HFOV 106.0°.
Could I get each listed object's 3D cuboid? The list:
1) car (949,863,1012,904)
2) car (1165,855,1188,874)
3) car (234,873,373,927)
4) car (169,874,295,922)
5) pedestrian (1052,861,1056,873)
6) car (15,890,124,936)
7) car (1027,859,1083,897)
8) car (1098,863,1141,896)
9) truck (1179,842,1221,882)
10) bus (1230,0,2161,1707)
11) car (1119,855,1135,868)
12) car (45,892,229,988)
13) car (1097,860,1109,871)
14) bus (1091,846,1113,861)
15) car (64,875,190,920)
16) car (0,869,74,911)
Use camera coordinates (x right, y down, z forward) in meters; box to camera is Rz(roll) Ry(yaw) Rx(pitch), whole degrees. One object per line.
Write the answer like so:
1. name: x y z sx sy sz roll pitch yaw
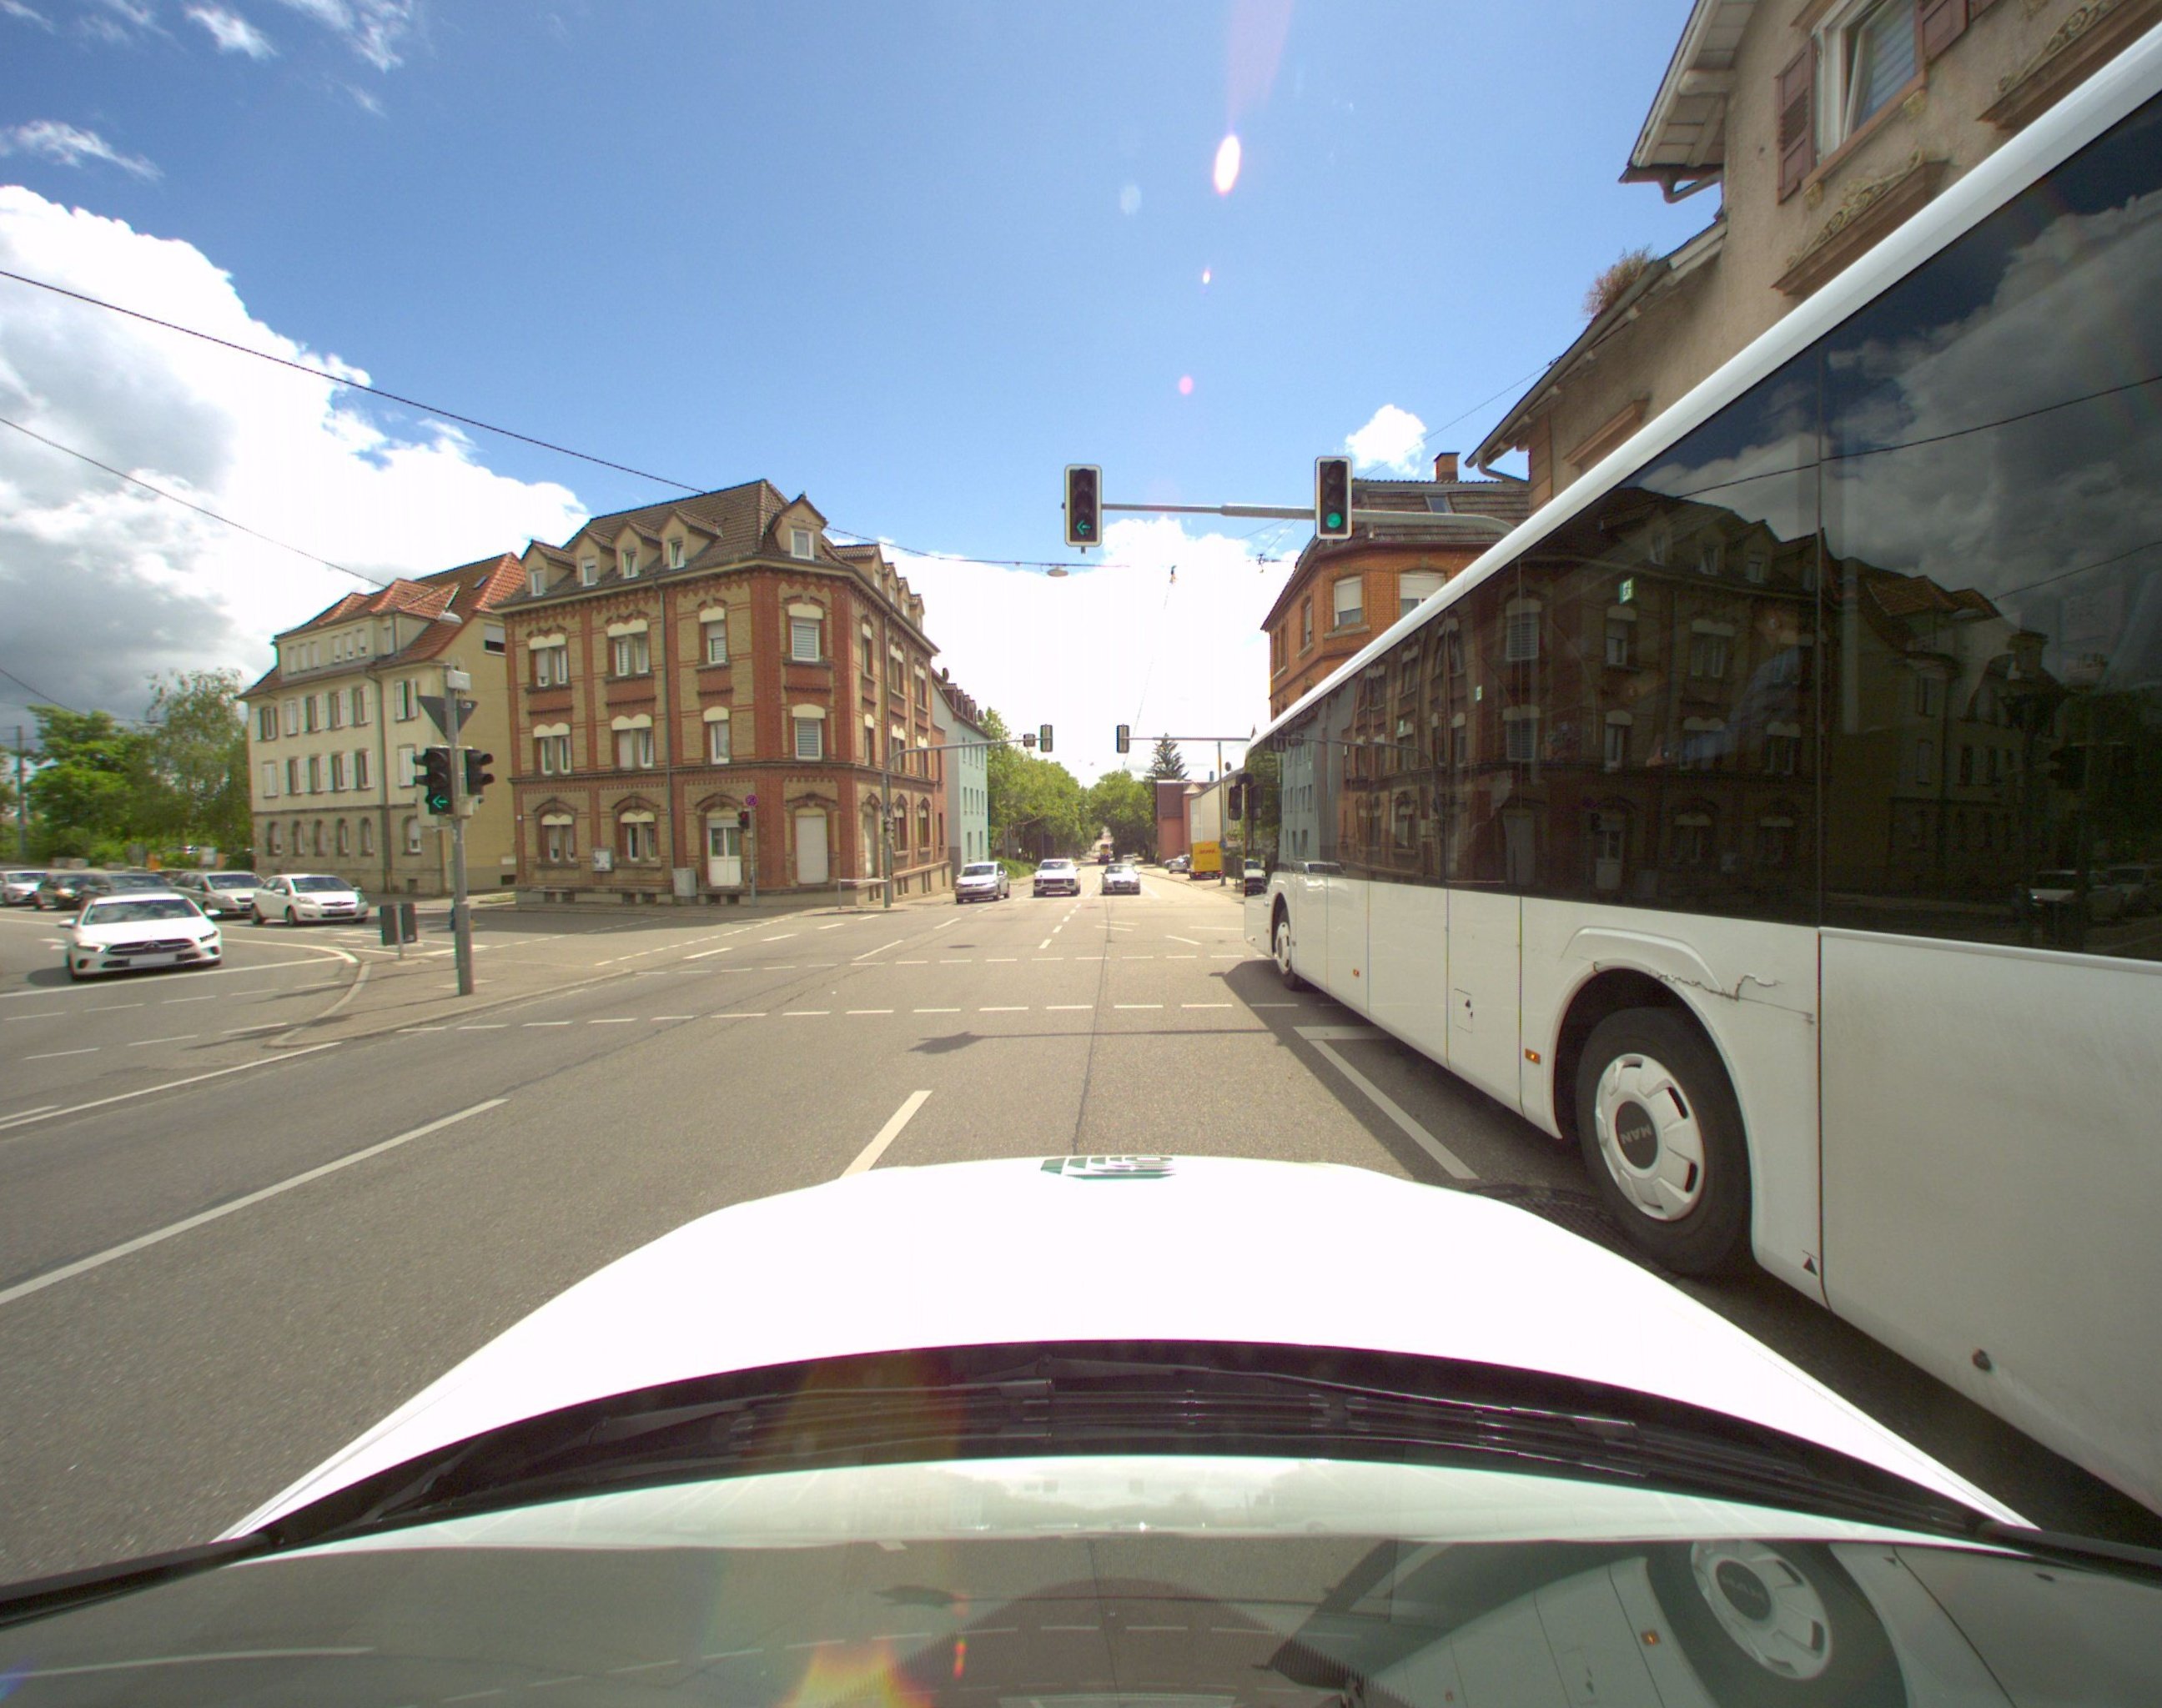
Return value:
1. car: -4.249 1.211 35.160 1.928 1.563 4.391 -2 0 2
2. car: 9.879 1.088 84.253 1.904 1.817 3.999 -1 -1 0
3. car: -23.665 1.380 24.777 3.951 1.497 1.711 -1 -1 25
4. car: -29.089 1.488 27.899 3.951 1.519 1.757 -1 -1 25
5. pedestrian: -4.240 2.039 128.898 0.604 1.758 0.654 -2 -1 1
6. car: -40.332 2.281 32.450 4.291 1.586 2.012 -1 0 29
7. car: -1.124 1.060 37.678 2.198 1.613 4.549 -2 0 2
8. car: 1.777 1.148 37.978 1.857 1.367 4.549 -2 0 2
9. truck: 9.164 0.593 63.178 2.531 2.913 6.576 0 -1 2
10. bus: 3.458 -0.232 6.081 2.893 3.510 12.494 0 -1 2
11. car: 6.877 1.077 120.991 2.085 1.830 4.141 -1 0 -1
12. car: -18.295 1.550 15.737 4.334 1.447 1.875 -2 2 36
13. car: 3.828 1.927 141.479 1.812 1.784 4.002 -2 0 2
14. bus: 5.164 -0.117 202.474 3.301 3.631 11.203 -2 0 -10
15. car: -35.341 1.593 30.165 3.951 1.519 2.011 -1 -1 25
16. car: -46.727 1.559 36.039 3.949 1.720 1.957 -1 -1 28
